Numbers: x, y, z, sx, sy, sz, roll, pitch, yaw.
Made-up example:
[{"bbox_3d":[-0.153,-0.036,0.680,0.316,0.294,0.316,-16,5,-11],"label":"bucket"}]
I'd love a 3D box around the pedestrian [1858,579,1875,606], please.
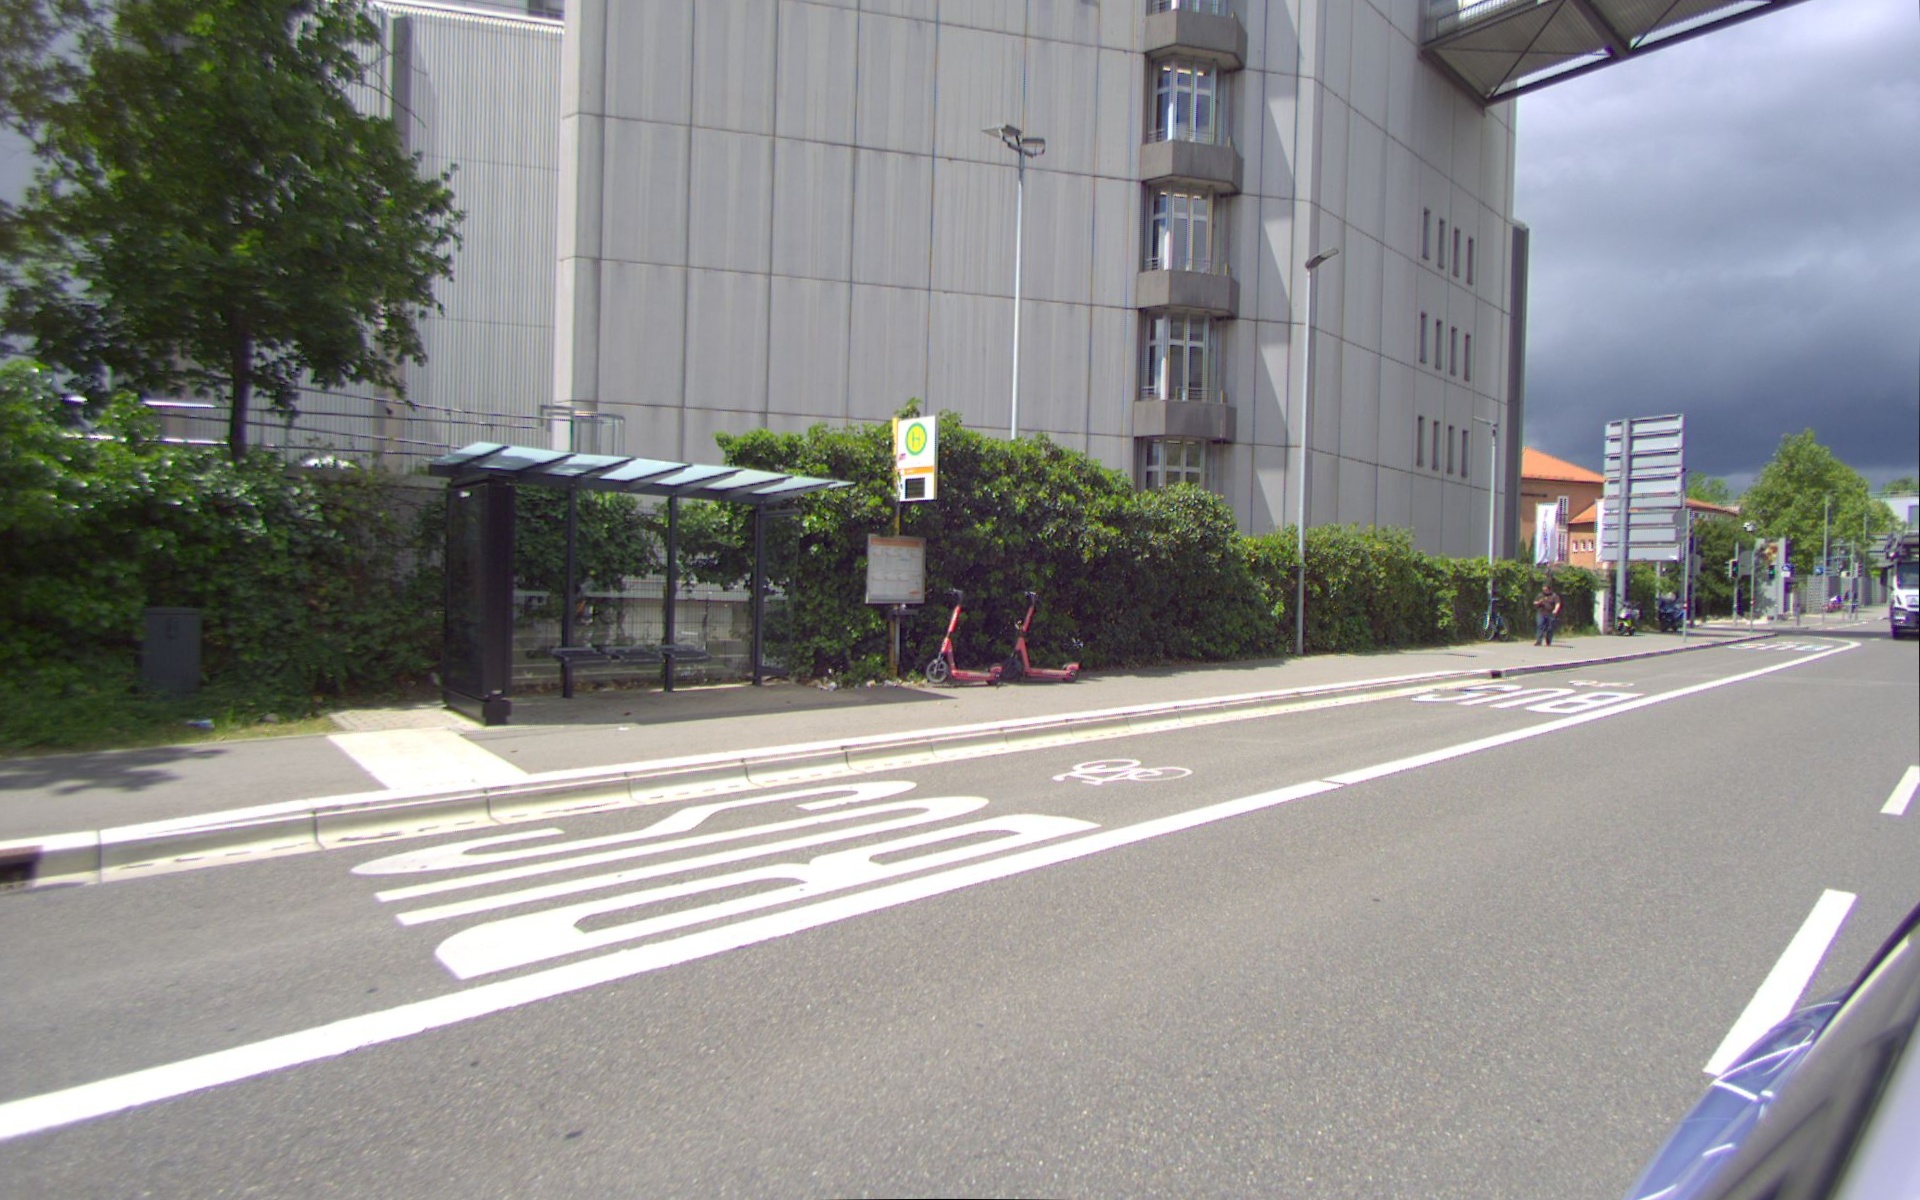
[{"bbox_3d":[61.594,-0.527,68.767,0.998,1.788,0.728,-1,0,-42],"label":"pedestrian"}]

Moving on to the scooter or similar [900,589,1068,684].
[{"bbox_3d":[0.305,0.468,13.149,2.083,1.177,0.544,1,1,-14],"label":"scooter or similar"}]

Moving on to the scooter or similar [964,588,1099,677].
[{"bbox_3d":[0.983,0.446,13.983,1.754,1.177,0.544,1,1,-14],"label":"scooter or similar"}]

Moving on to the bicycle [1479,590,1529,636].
[{"bbox_3d":[15.179,0.343,28.218,2.427,1.195,0.444,-1,0,-42],"label":"bicycle"}]

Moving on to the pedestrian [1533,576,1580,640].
[{"bbox_3d":[16.030,0.201,27.205,0.981,1.665,0.810,-1,3,-43],"label":"pedestrian"}]

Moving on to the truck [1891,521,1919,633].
[{"bbox_3d":[38.033,-0.886,38.570,10.556,3.934,2.710,-1,1,-42],"label":"truck"}]

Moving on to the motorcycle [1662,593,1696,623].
[{"bbox_3d":[27.505,0.282,38.696,2.002,1.080,0.592,0,3,-42],"label":"motorcycle"}]

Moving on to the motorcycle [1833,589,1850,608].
[{"bbox_3d":[59.496,-0.130,68.266,2.138,1.241,0.570,-1,3,-42],"label":"motorcycle"}]

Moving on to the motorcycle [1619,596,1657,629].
[{"bbox_3d":[23.328,0.418,34.796,2.002,1.080,0.592,0,2,-42],"label":"motorcycle"}]
